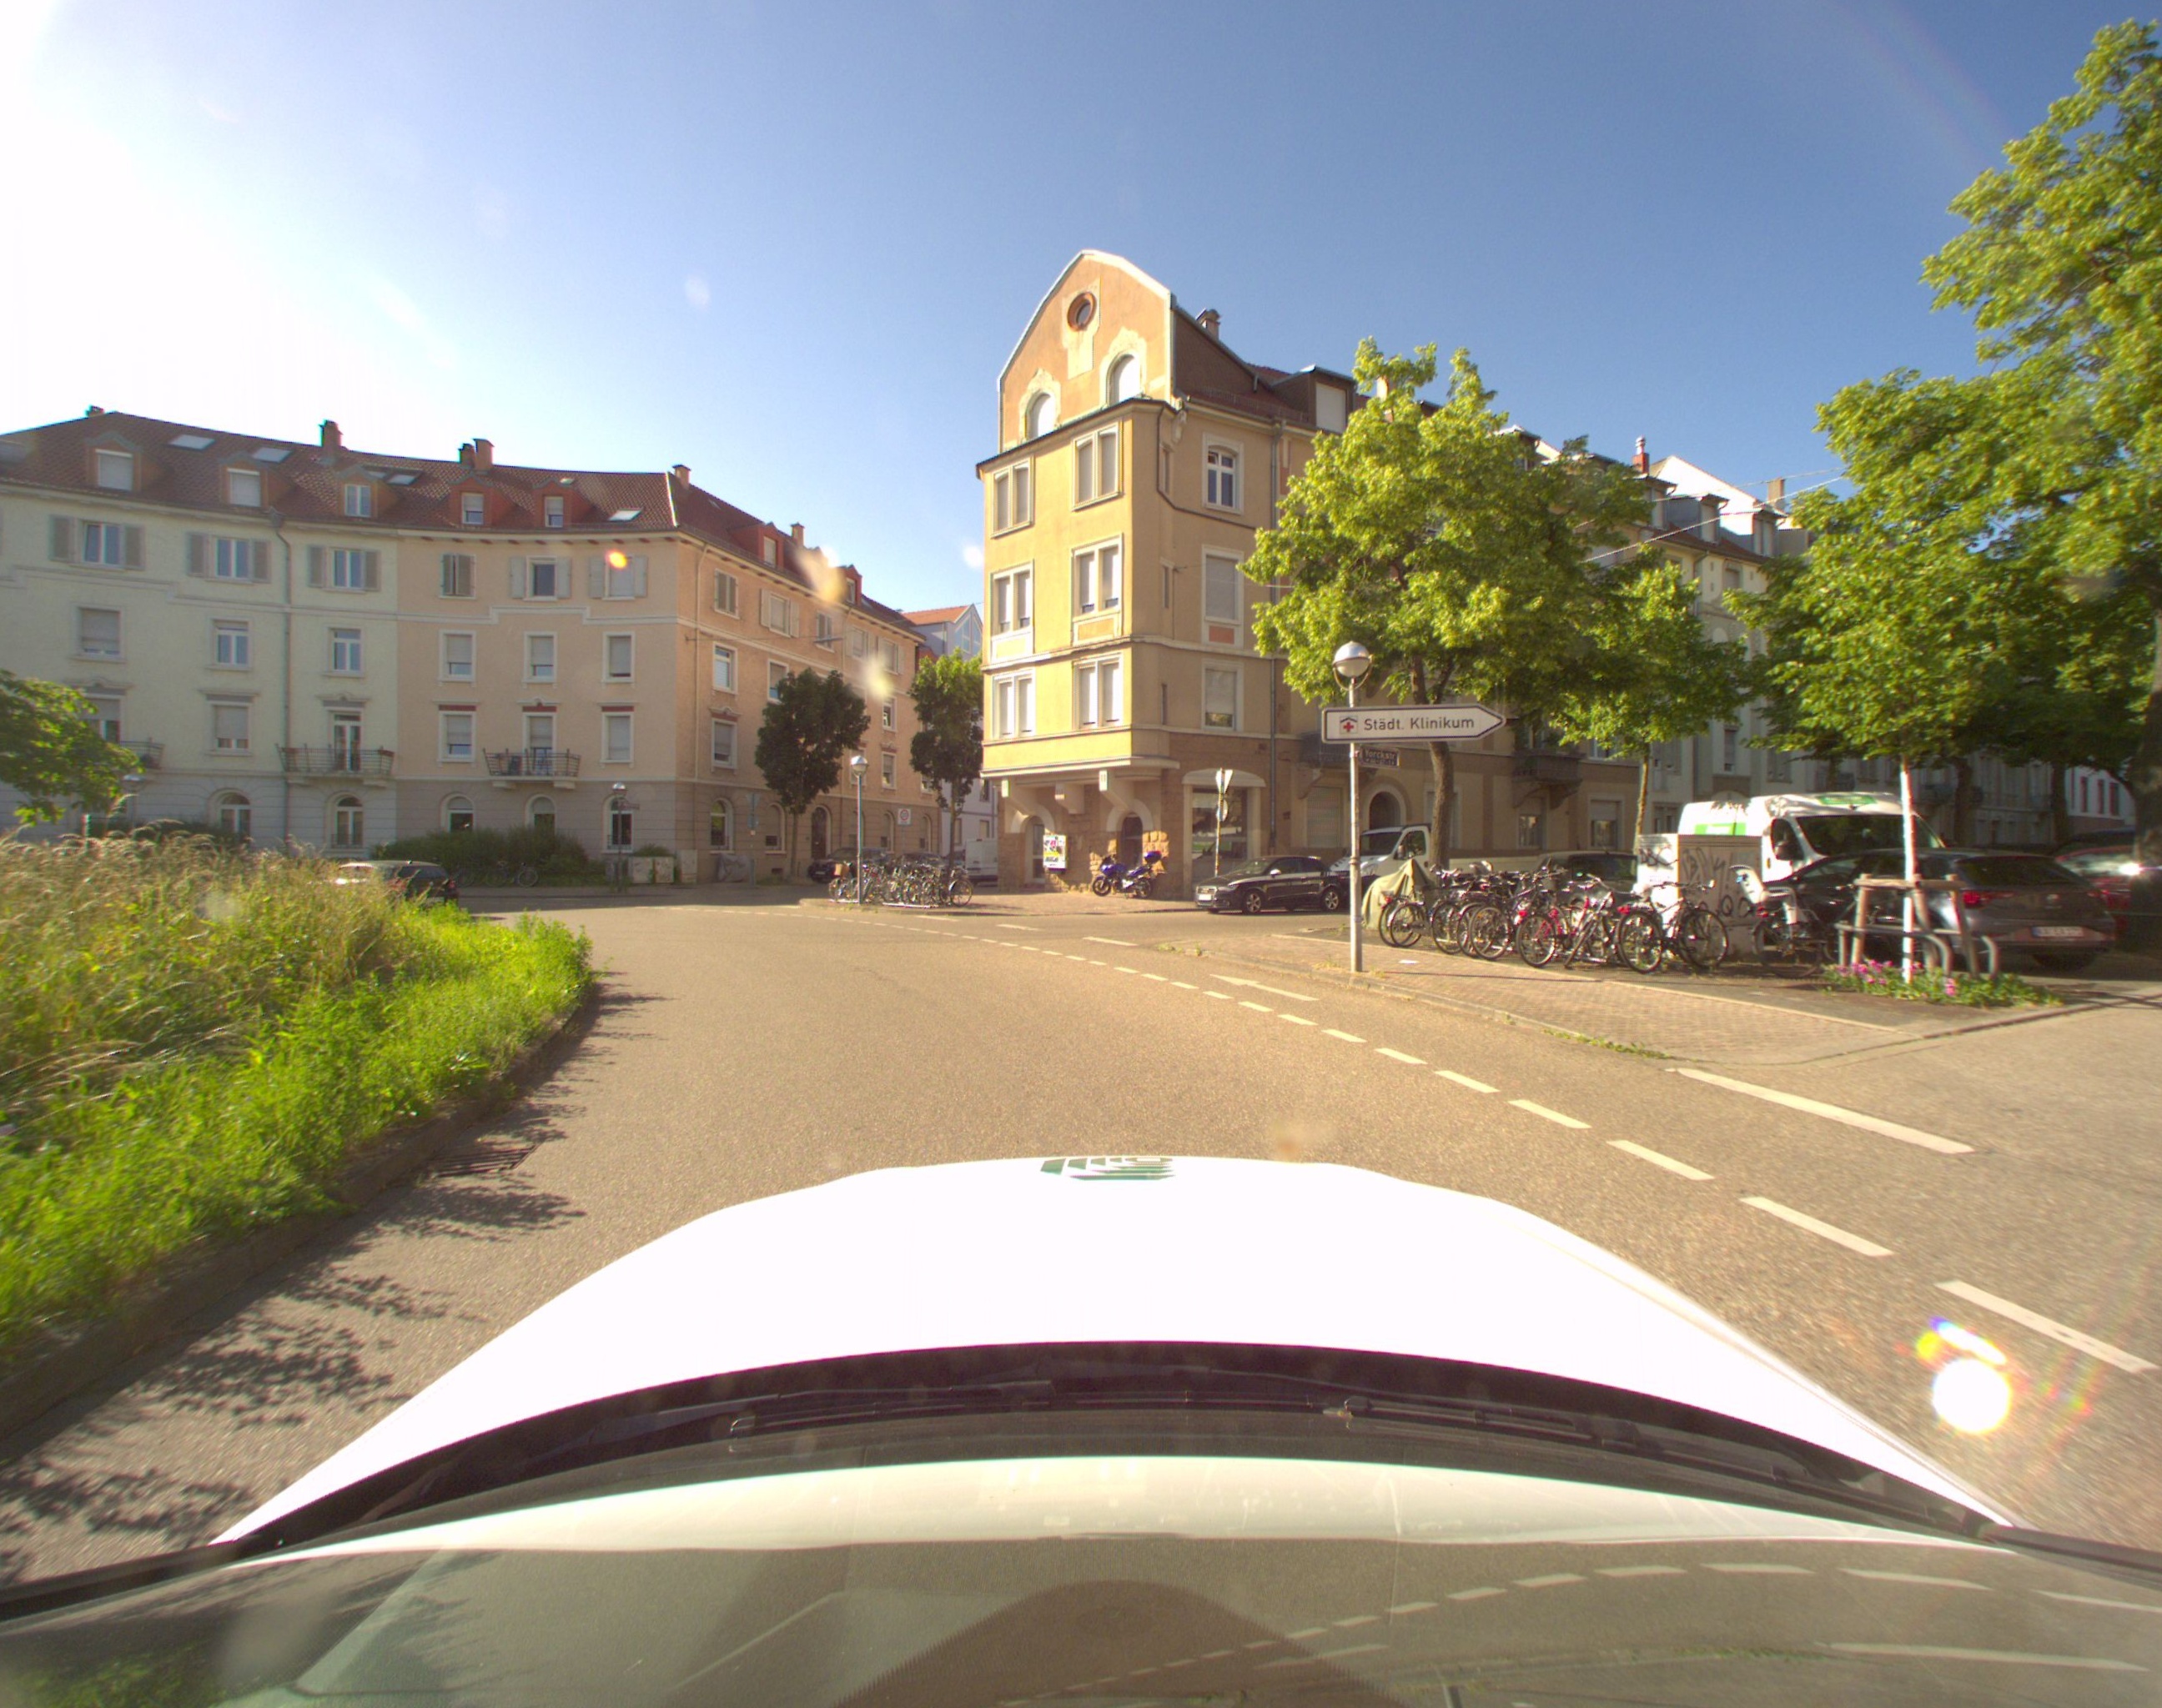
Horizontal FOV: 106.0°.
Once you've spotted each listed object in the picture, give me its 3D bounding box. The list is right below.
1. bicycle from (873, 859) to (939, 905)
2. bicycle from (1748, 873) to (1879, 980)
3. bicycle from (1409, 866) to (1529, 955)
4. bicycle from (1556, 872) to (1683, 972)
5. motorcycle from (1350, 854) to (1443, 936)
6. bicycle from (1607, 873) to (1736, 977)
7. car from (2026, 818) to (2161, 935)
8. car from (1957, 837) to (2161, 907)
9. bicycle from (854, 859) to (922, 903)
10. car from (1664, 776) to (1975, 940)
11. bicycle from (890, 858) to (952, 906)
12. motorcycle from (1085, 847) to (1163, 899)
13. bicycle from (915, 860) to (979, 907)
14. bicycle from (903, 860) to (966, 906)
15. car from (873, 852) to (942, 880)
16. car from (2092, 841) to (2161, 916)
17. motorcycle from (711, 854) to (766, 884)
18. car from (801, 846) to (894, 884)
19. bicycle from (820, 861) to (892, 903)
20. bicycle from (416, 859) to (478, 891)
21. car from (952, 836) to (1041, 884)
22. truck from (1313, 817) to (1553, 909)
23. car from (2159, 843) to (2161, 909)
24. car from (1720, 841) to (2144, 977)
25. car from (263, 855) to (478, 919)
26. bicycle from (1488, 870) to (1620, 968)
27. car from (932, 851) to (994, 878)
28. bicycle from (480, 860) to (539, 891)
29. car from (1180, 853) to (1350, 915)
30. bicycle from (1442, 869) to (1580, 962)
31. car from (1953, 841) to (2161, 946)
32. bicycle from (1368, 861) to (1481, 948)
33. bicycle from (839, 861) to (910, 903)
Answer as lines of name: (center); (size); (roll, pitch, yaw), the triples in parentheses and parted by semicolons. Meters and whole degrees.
bicycle: (-4.586, 0.718, 21.400); (0.609, 1.145, 1.707); (-1, 0, 36)
bicycle: (8.224, 0.782, 9.138); (1.526, 1.086, 0.416); (-1, 1, -20)
bicycle: (5.425, 0.756, 11.377); (1.603, 1.126, 0.585); (-1, 1, -22)
bicycle: (6.432, 0.782, 9.716); (1.574, 1.089, 0.416); (-1, 1, -21)
motorcycle: (5.386, 0.663, 14.011); (0.538, 1.270, 1.701); (-1, 1, -18)
bicycle: (6.801, 0.788, 9.375); (1.526, 1.086, 0.416); (-1, 1, -20)
car: (18.193, 0.364, 13.342); (1.674, 1.864, 3.390); (1, 1, 6)
car: (25.924, 0.406, 21.595); (1.676, 1.665, 3.499); (1, 1, 2)
bicycle: (-5.210, 0.705, 22.021); (0.630, 1.145, 1.707); (-1, 0, 44)
car: (14.066, -0.012, 16.219); (2.080, 2.600, 6.406); (1, 1, 18)
bicycle: (-4.129, 0.693, 21.094); (0.446, 1.191, 1.707); (-1, 0, 36)
motorcycle: (1.243, 0.529, 23.744); (2.222, 1.411, 0.705); (2, 2, 36)
bicycle: (-3.366, 0.720, 20.610); (0.477, 1.123, 1.730); (-1, 0, 39)
bicycle: (-3.733, 0.722, 20.869); (0.477, 1.123, 1.707); (-1, 0, 36)
car: (-8.864, 0.587, 41.881); (1.681, 1.412, 3.683); (0, 0, 23)
car: (22.265, 0.507, 15.785); (1.670, 1.470, 3.398); (1, 1, 15)
motorcycle: (-14.877, 0.621, 35.433); (0.931, 1.220, 2.165); (2, 1, 23)
car: (-10.645, 0.472, 37.449); (1.887, 1.642, 4.368); (0, 0, 19)
bicycle: (-6.290, 0.764, 22.854); (0.690, 1.130, 1.879); (-2, -2, 39)
bicycle: (-22.813, 0.748, 29.307); (1.682, 1.088, 0.501); (0, 2, -12)
car: (-3.492, 0.252, 34.629); (2.118, 1.909, 4.581); (0, 0, 17)
truck: (9.817, 0.223, 22.602); (6.627, 2.292, 2.123); (0, -1, -23)
car: (24.430, 0.536, 16.324); (1.670, 1.470, 3.398); (1, 1, 15)
car: (10.927, 0.576, 10.947); (1.676, 1.446, 3.925); (1, 1, 2)
car: (-17.423, 0.763, 20.062); (3.962, 1.419, 1.876); (1, 0, 10)
bicycle: (5.862, 0.774, 10.088); (1.650, 1.102, 0.497); (-1, 1, -21)
car: (-6.807, 0.581, 47.332); (1.681, 1.486, 4.024); (0, 0, 23)
bicycle: (-20.752, 0.763, 29.597); (1.682, 1.088, 0.501); (0, 2, -12)
car: (4.549, 0.686, 20.036); (3.930, 1.390, 1.673); (0, -1, -27)
bicycle: (5.662, 0.769, 10.709); (1.731, 1.088, 0.652); (-1, 1, -22)
car: (15.893, 0.551, 12.292); (1.682, 1.446, 3.374); (0, 1, -9)
bicycle: (5.103, 0.718, 12.089); (1.681, 1.192, 0.534); (-1, 1, -22)
bicycle: (-5.667, 0.744, 22.442); (0.529, 1.090, 1.890); (-1, 0, 44)
